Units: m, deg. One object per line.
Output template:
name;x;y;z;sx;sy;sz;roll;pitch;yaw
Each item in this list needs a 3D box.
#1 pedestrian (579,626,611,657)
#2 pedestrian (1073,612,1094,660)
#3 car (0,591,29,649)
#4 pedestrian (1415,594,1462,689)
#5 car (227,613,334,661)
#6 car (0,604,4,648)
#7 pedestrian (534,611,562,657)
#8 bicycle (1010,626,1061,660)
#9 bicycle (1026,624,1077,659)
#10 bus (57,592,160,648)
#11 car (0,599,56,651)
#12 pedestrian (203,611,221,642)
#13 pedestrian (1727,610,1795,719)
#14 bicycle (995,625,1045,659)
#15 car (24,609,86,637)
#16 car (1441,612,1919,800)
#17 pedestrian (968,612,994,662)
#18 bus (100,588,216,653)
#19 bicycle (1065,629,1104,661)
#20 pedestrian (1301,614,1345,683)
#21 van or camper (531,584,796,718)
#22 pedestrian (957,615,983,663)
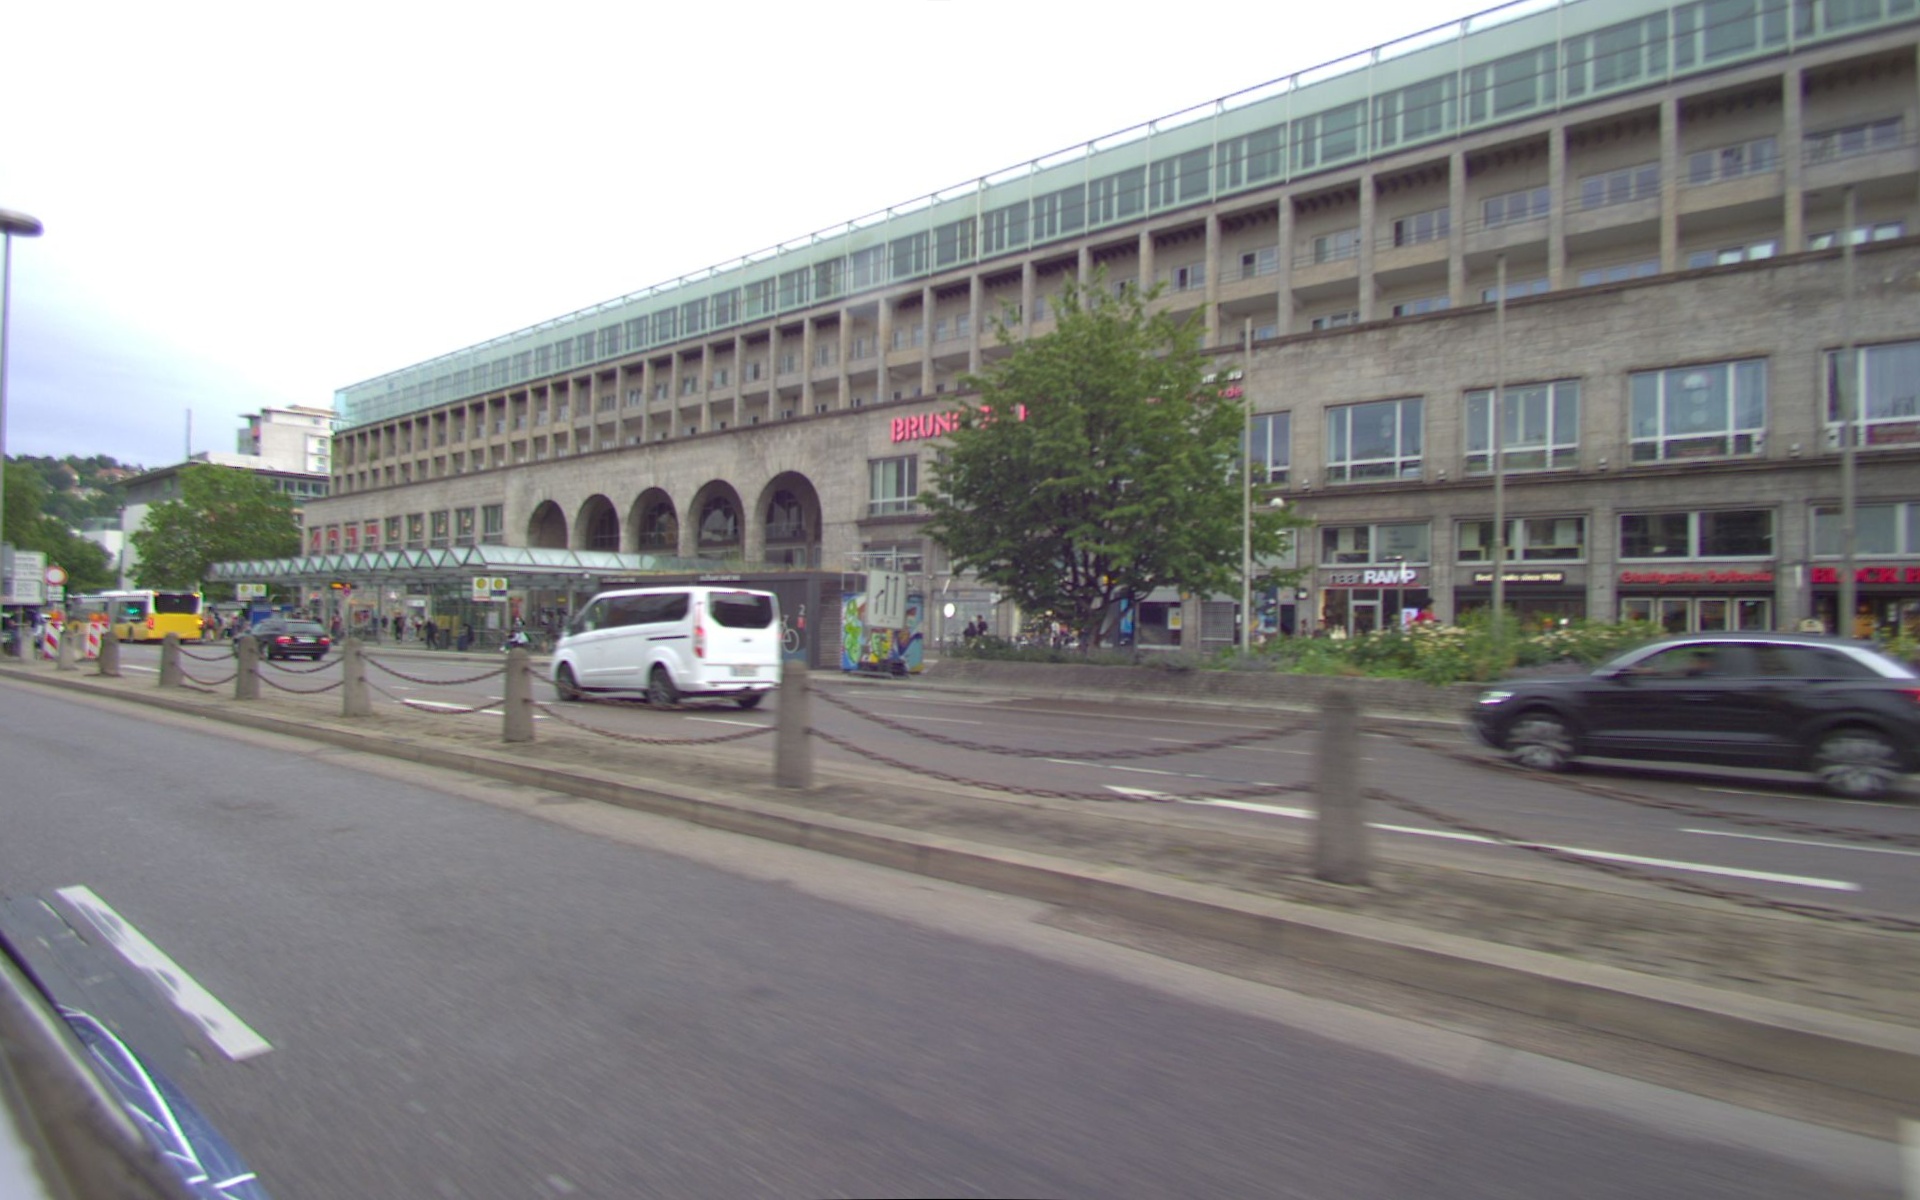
pedestrian;-14.376;1.635;39.848;1.259;1.191;0.574;-1;0;38
pedestrian;4.863;1.411;39.725;0.603;1.869;0.674;0;-2;31
car;-38.532;0.764;39.771;5.536;2.195;1.974;-1;-2;38
pedestrian;10.496;0.907;22.211;0.793;2.029;0.660;-1;-2;40
car;-24.678;1.294;36.704;4.975;1.629;1.973;0;-1;41
car;-42.498;1.053;43.080;4.576;1.820;1.911;0;-2;38
pedestrian;-17.419;1.428;42.800;0.929;1.870;0.712;-1;0;38
bicycle;2.969;1.664;39.681;0.663;1.303;2.340;-1;-2;43
bicycle;3.544;1.598;39.152;0.663;1.303;2.340;-1;-2;43
bus;-55.473;1.303;65.819;10.557;3.402;2.850;-1;-2;38
car;-33.880;0.871;35.879;4.776;1.735;1.974;-1;-2;39
pedestrian;-43.324;1.524;58.626;0.854;1.738;0.617;-1;0;38
pedestrian;13.272;1.046;16.770;0.794;1.747;0.659;-1;-2;45
bicycle;2.402;1.671;40.392;0.663;1.303;2.340;-1;-2;43
car;-56.200;1.439;62.819;4.827;1.576;1.944;-1;-4;37
car;7.776;0.990;10.687;4.569;1.629;1.974;0;-3;38
pedestrian;0.779;1.374;38.222;0.727;1.867;0.659;0;-2;37
bus;-47.154;1.174;59.352;10.557;3.486;2.850;-1;-1;38
bicycle;4.709;1.682;38.168;0.502;1.169;1.886;-1;-2;40
pedestrian;10.806;1.438;30.192;0.758;2.029;1.086;1;-1;-14
van or camper;-5.331;0.793;17.797;5.186;2.029;1.973;0;-1;41
pedestrian;0.376;1.435;37.681;0.727;1.765;0.659;0;-2;37
